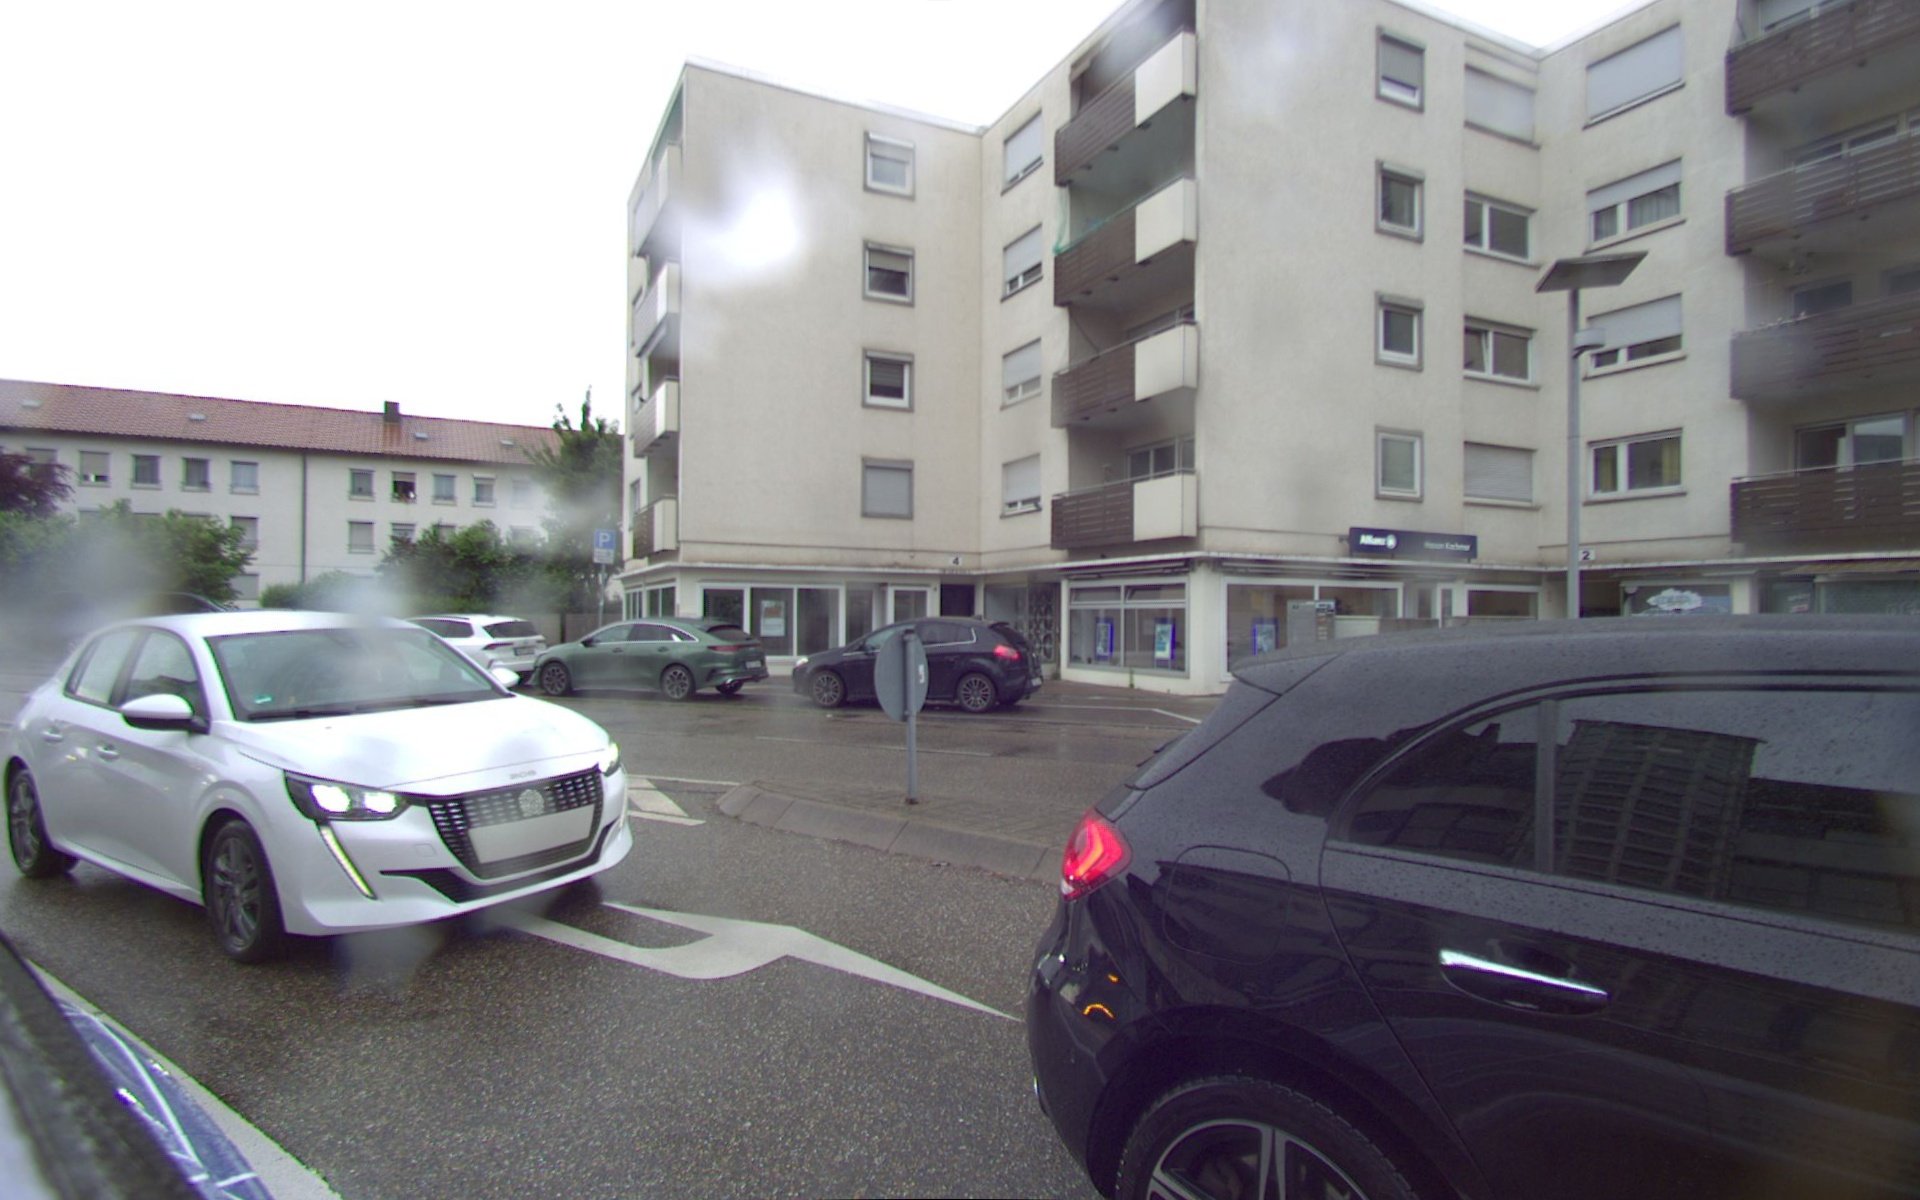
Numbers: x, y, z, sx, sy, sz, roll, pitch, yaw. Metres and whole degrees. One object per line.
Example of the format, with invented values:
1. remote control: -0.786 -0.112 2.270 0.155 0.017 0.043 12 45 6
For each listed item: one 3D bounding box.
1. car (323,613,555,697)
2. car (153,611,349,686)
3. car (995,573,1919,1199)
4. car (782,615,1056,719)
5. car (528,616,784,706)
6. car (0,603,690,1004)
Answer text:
1. car: -10.447 1.045 20.295 4.313 1.511 1.627 0 -1 20
2. car: -15.650 1.032 22.354 3.852 1.517 1.623 0 -1 20
3. car: 2.174 0.688 1.307 4.090 1.492 1.646 -2 -1 40
4. car: -0.650 1.018 16.631 4.156 1.471 1.825 0 0 20
5. car: -5.544 1.041 18.520 4.241 1.445 1.826 0 0 19
6. car: -3.474 0.759 5.391 3.881 1.420 1.726 -1 0 31
